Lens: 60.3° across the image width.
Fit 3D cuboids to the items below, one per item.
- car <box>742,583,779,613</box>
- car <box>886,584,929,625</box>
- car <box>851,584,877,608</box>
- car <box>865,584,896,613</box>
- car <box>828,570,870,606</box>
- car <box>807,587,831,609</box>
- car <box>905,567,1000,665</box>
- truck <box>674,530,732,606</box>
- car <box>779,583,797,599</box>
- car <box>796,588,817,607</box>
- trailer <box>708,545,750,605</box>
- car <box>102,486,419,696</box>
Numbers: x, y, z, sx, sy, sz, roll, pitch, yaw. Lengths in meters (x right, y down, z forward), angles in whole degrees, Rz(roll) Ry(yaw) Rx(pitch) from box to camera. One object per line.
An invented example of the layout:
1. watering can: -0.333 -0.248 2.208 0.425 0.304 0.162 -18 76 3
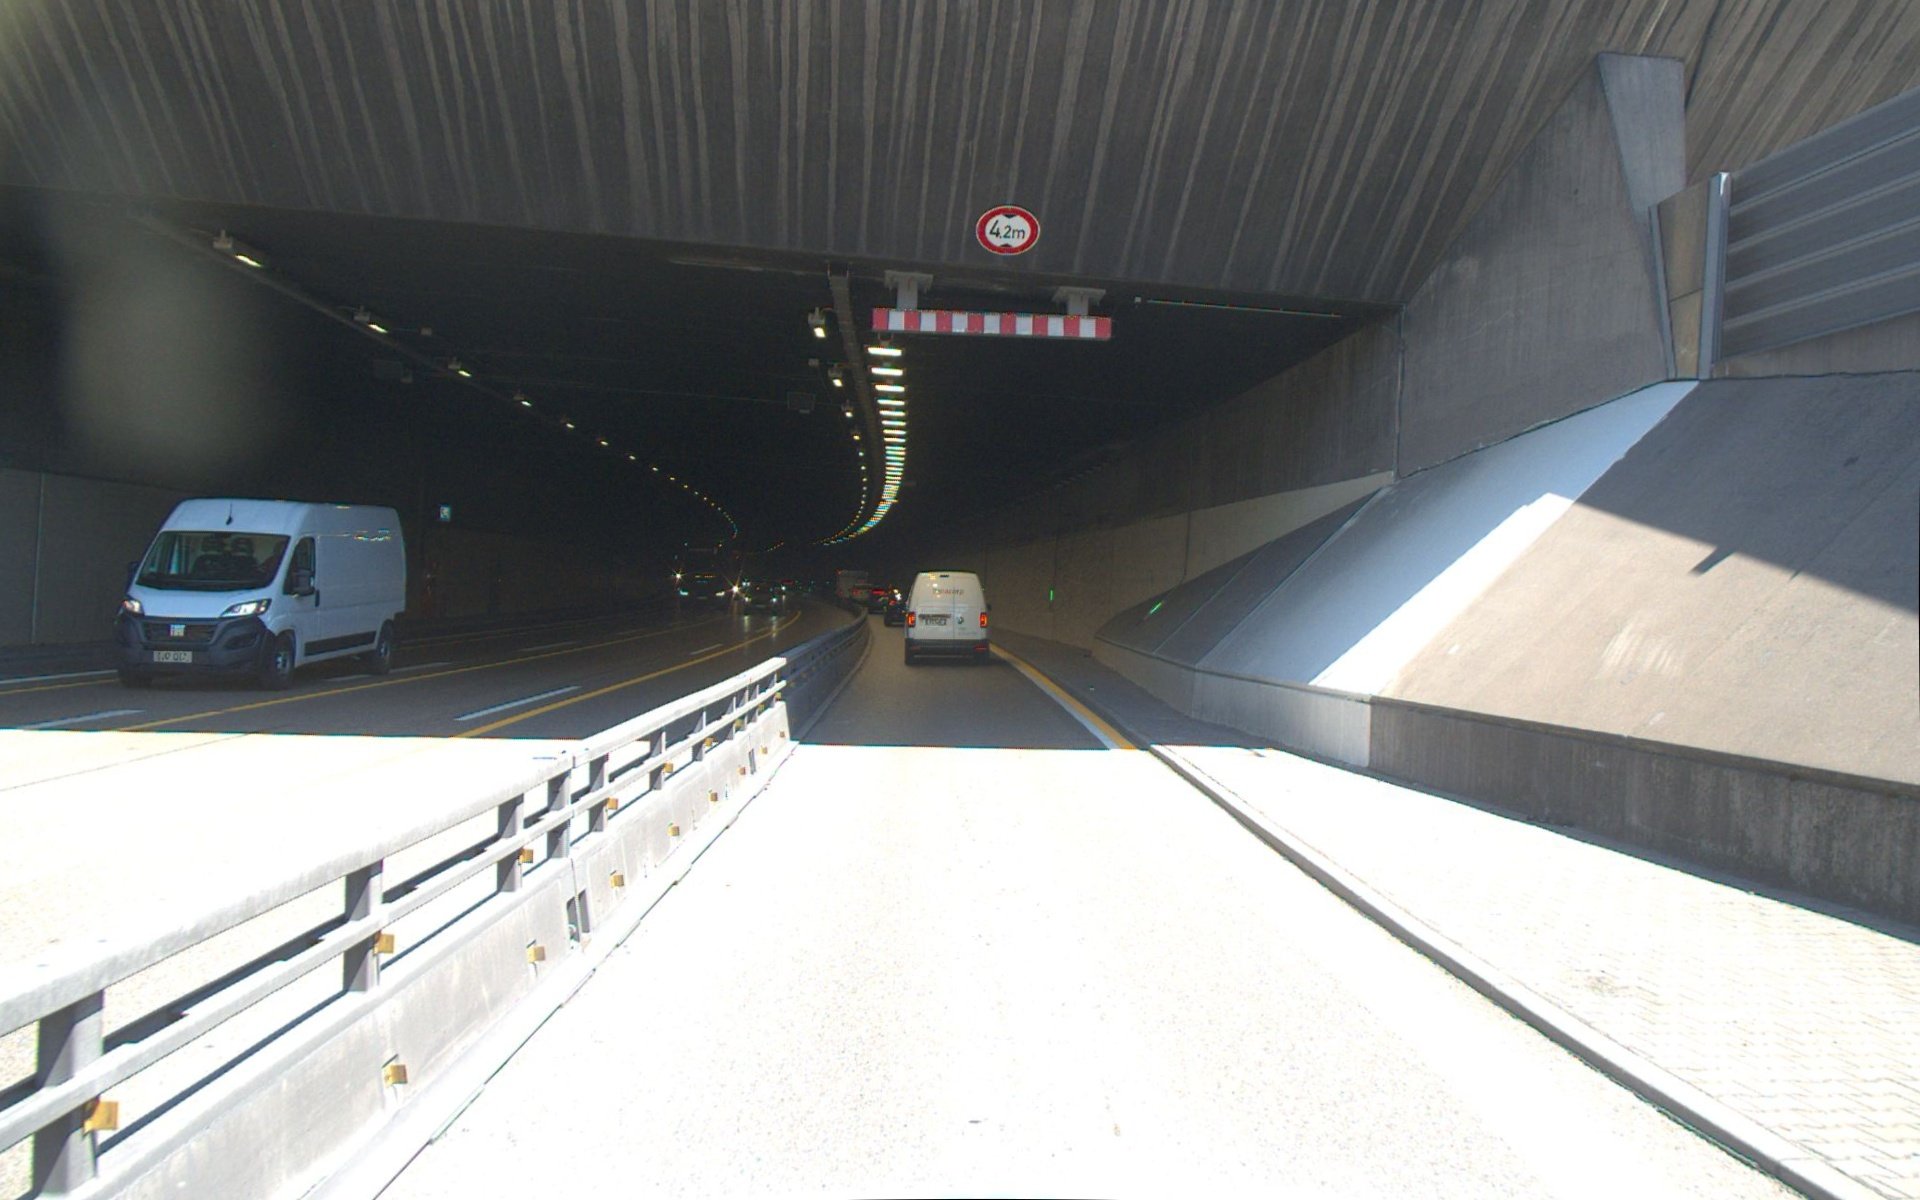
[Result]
1. car: -10.205 -0.122 84.735 1.786 1.482 4.087 1 0 -7
2. car: -2.113 0.151 65.485 1.567 1.573 3.675 1 0 -4
3. car: -6.599 -0.267 113.762 1.568 1.573 3.672 1 0 -7
4. car: -4.376 -0.091 90.963 1.567 1.573 3.674 1 0 -5
5. car: -8.881 -0.971 131.937 2.761 2.822 7.087 0 0 -9
6. car: -14.324 -0.235 167.898 1.998 2.056 4.622 5 0 -9
7. car: -0.188 0.320 34.129 1.772 1.825 3.730 3 0 -1
8. truck: -14.207 -1.738 91.783 2.756 3.984 6.448 1 0 -6
9. car: -22.120 -1.156 212.881 1.905 2.056 4.650 1 0 -11
10. car: -17.003 -0.301 183.039 1.905 2.056 4.650 1 0 -11
11. trailer: -17.436 -1.827 125.359 2.593 4.206 15.440 1 0 -6
12. car: -9.574 -0.134 23.334 1.953 2.559 6.041 1 0 -1
